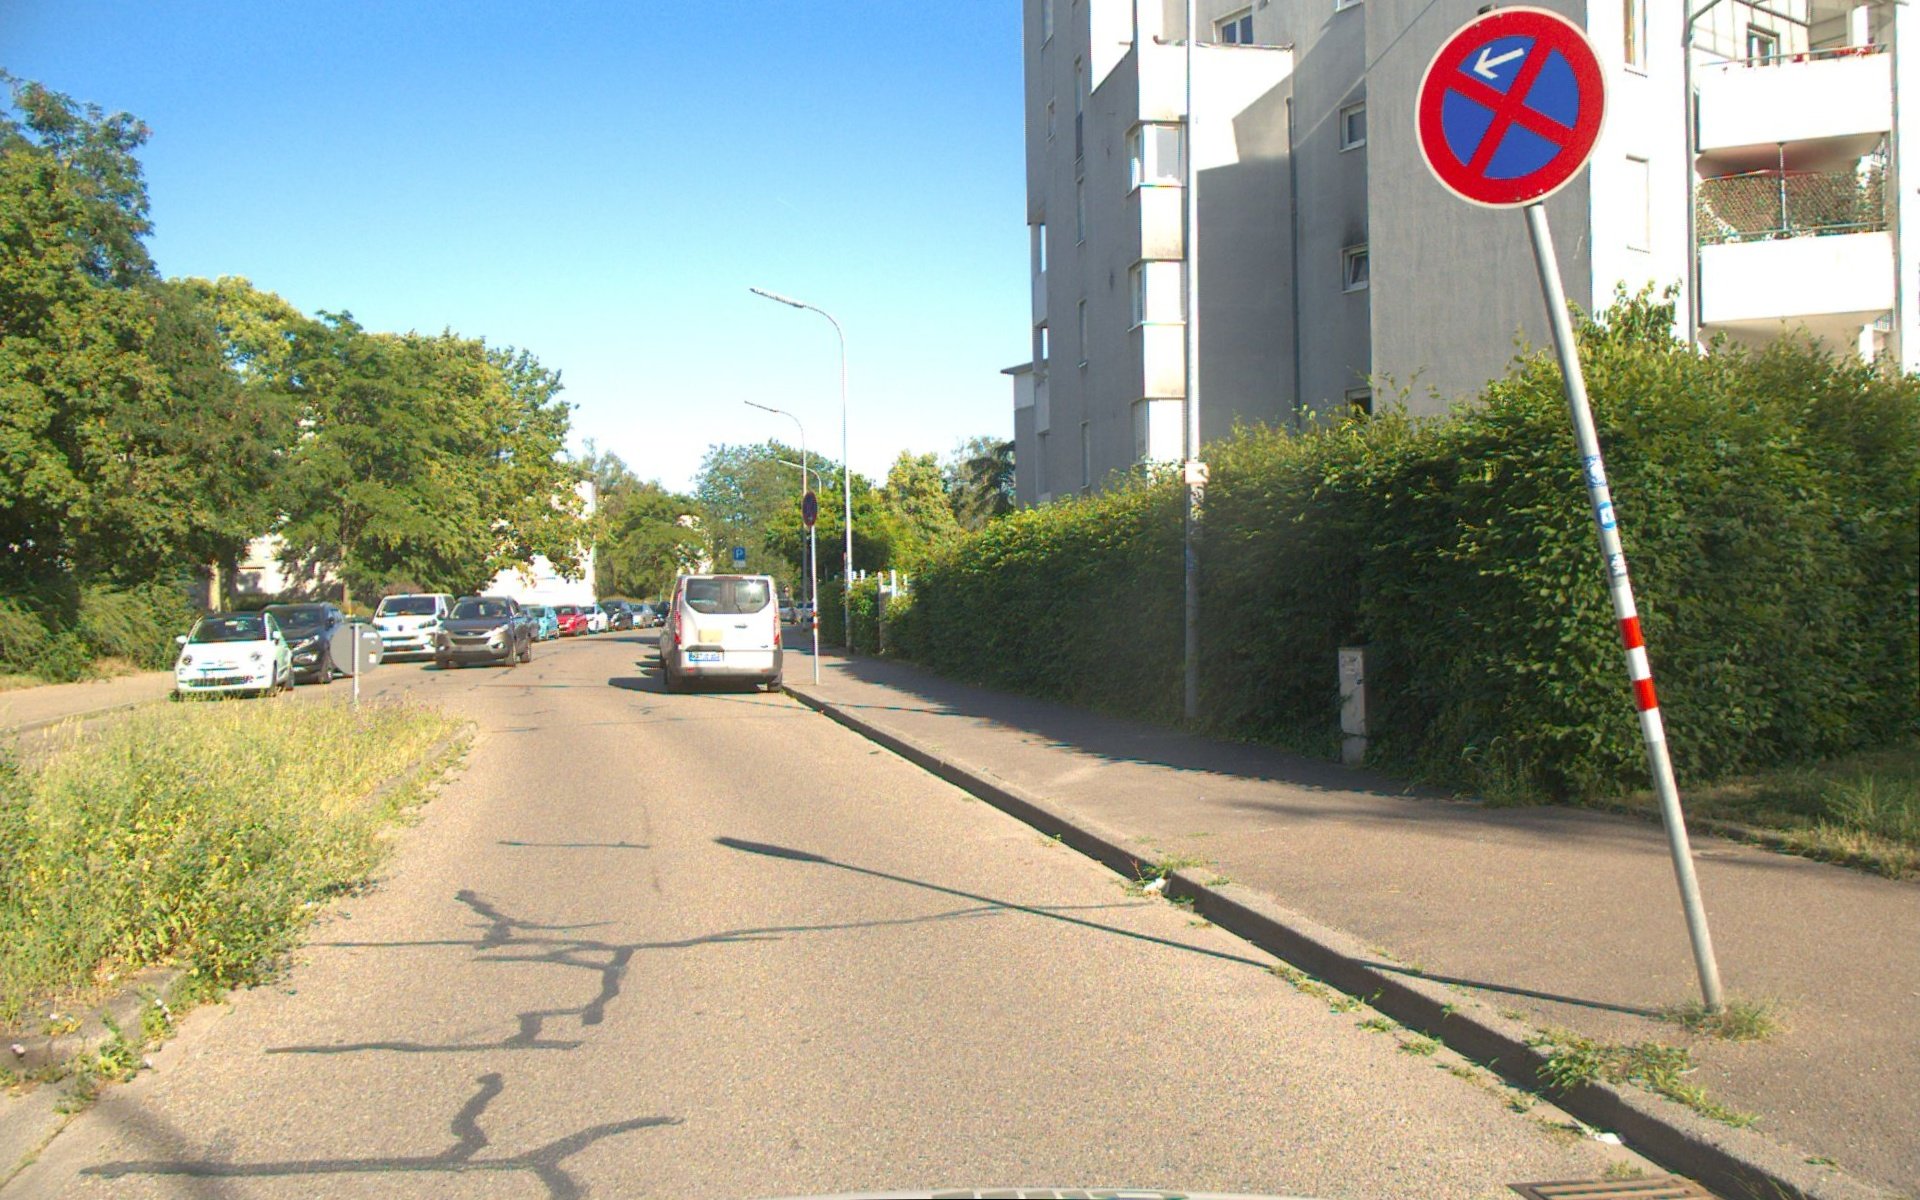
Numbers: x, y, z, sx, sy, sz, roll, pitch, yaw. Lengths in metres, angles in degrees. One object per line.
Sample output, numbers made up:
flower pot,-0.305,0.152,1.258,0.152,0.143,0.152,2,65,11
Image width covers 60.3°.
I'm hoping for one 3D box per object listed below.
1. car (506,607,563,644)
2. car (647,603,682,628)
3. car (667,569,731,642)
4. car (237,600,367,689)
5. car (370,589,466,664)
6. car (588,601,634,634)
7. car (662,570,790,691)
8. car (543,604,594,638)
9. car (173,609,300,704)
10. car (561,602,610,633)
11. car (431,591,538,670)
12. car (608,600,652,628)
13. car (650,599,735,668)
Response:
car,-18.278,1.077,71.229,1.637,1.500,3.675,-2,0,-4
car,-18.256,0.926,102.268,1.627,1.451,4.046,-3,0,-3
car,-9.390,0.205,59.920,2.064,2.530,5.847,0,0,-7
car,-13.763,0.887,34.815,1.644,1.667,4.240,-3,1,-10
car,-15.483,0.707,47.463,1.829,1.995,4.661,-2,0,-9
car,-19.105,0.943,90.673,1.636,1.695,4.405,-2,0,-1
car,-4.269,0.506,29.557,1.958,1.946,4.939,-1,0,-11
car,-18.483,0.991,78.210,1.637,1.500,3.675,-2,0,-4
car,-12.931,0.961,29.724,1.600,1.554,3.404,-2,0,-16
car,-18.893,0.885,83.620,1.636,1.446,3.900,-2,0,-1
car,-11.489,0.702,40.217,1.877,1.735,4.177,-2,0,-8
car,-19.293,0.817,96.859,1.626,1.512,4.053,-3,0,1
car,-6.470,0.770,39.937,1.875,1.514,4.365,-1,0,-10
